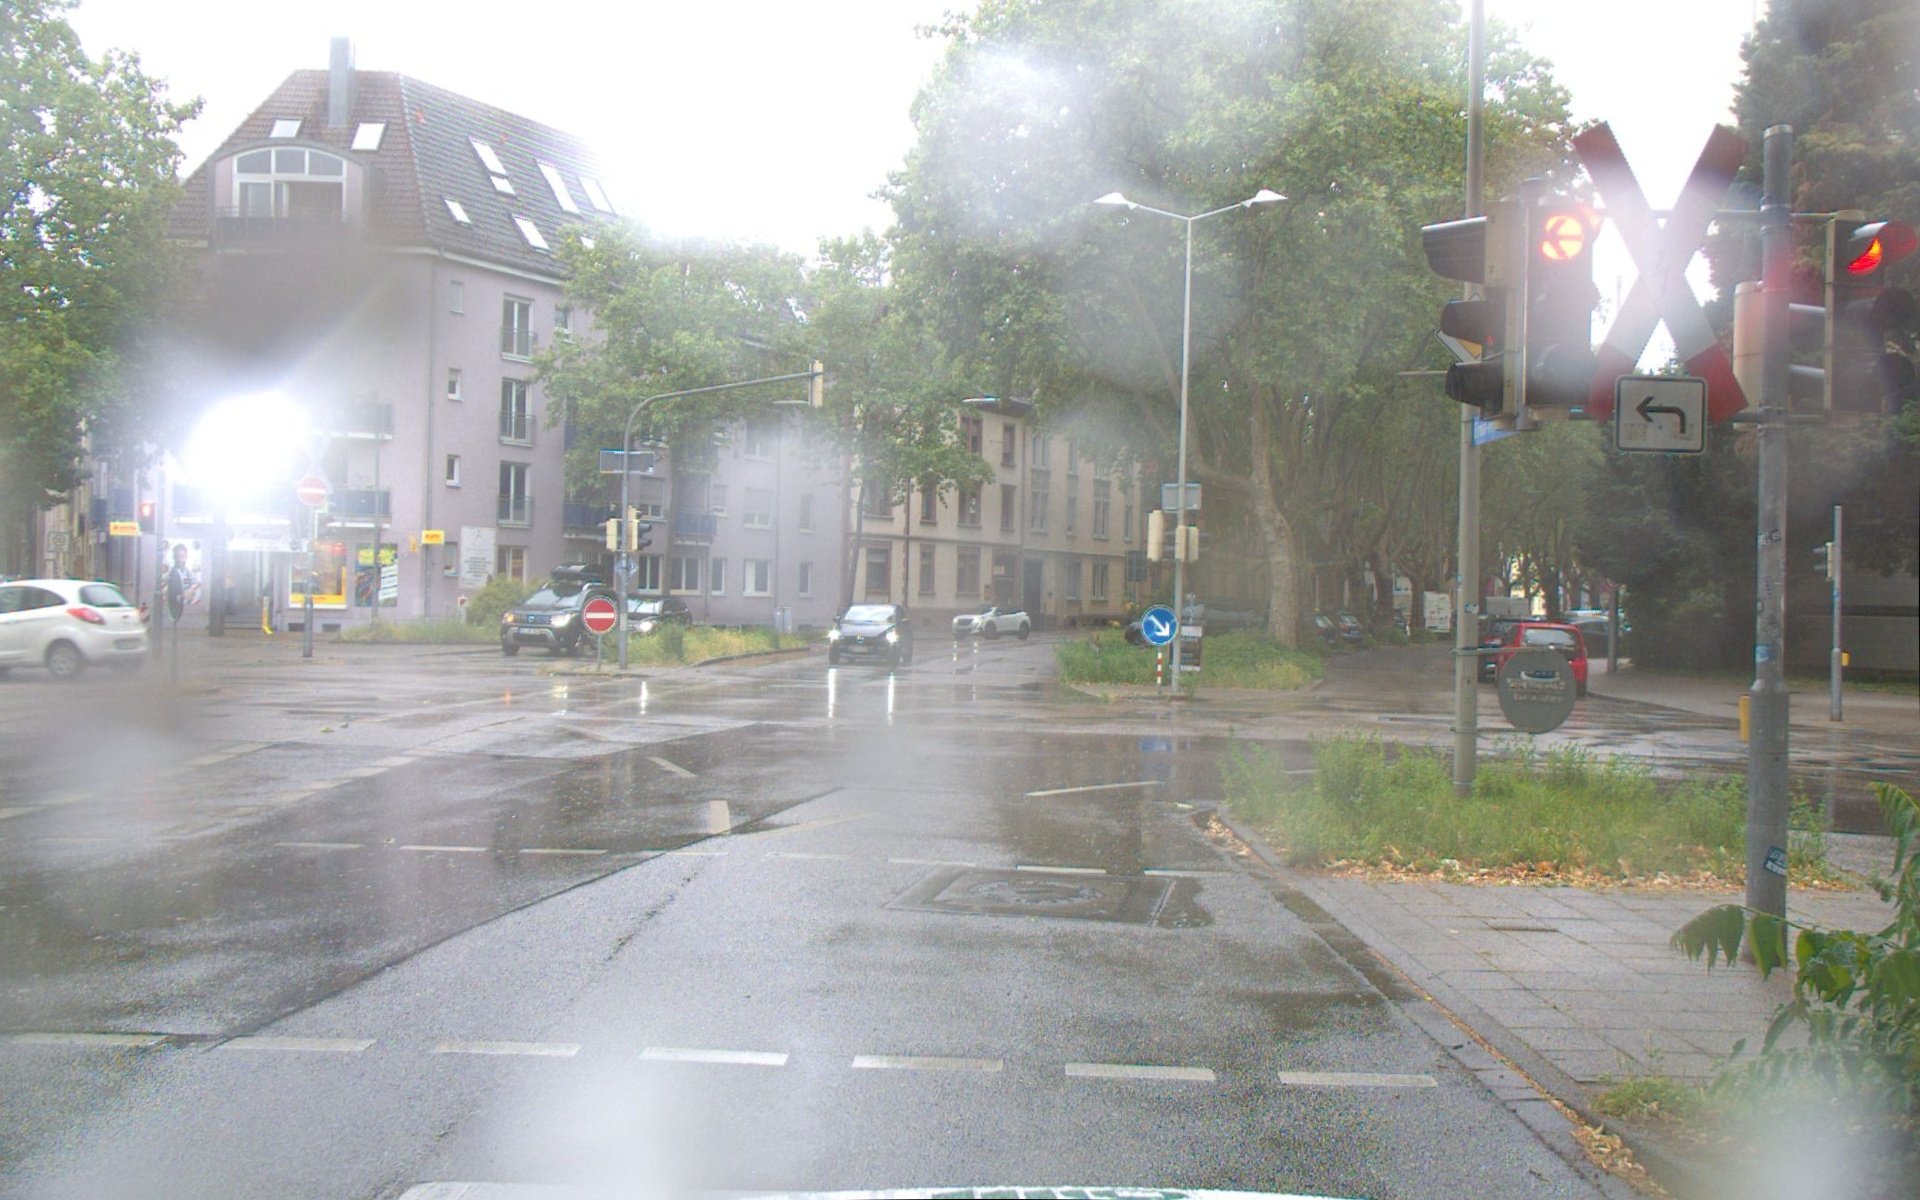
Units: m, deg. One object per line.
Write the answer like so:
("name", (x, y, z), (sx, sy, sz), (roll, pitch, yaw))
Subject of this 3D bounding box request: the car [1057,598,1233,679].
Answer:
("car", (3.711, 0.764, 33.032), (3.405, 1.550, 1.521), (0, 0, 8))

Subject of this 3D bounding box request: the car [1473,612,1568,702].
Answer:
("car", (13.858, 1.355, 41.077), (1.951, 2.049, 4.003), (0, 0, 15))

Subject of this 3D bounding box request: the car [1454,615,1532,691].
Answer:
("car", (15.453, 1.502, 48.092), (1.951, 2.049, 4.003), (0, 0, 15))

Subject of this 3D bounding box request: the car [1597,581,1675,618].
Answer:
("car", (37.773, -0.041, 92.511), (3.903, 2.049, 1.708), (0, 0, 19))

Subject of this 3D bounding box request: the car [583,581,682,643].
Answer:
("car", (-8.792, 0.304, 44.696), (1.688, 1.579, 3.562), (0, 0, 5))

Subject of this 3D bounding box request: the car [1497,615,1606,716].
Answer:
("car", (13.022, 1.390, 36.626), (1.951, 2.049, 4.003), (0, 0, 15))

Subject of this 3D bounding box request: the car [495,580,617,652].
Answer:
("car", (-9.352, 0.346, 38.576), (1.688, 1.579, 3.562), (0, 0, 5))

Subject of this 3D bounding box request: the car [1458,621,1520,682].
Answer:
("car", (19.144, 1.816, 59.977), (1.951, 2.049, 4.003), (0, 0, 15))

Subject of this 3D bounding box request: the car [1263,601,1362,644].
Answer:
("car", (14.002, 0.882, 65.760), (3.537, 1.646, 1.679), (0, 0, 28))

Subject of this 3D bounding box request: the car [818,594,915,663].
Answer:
("car", (-2.248, 0.663, 40.541), (1.568, 1.579, 3.563), (0, 0, 10))

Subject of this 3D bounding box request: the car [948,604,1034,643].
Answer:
("car", (1.368, 0.982, 71.391), (1.648, 1.579, 4.183), (0, 0, 35))

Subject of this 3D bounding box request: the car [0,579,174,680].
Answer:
("car", (-14.466, 0.446, 25.846), (3.564, 1.512, 1.726), (0, 0, 6))
